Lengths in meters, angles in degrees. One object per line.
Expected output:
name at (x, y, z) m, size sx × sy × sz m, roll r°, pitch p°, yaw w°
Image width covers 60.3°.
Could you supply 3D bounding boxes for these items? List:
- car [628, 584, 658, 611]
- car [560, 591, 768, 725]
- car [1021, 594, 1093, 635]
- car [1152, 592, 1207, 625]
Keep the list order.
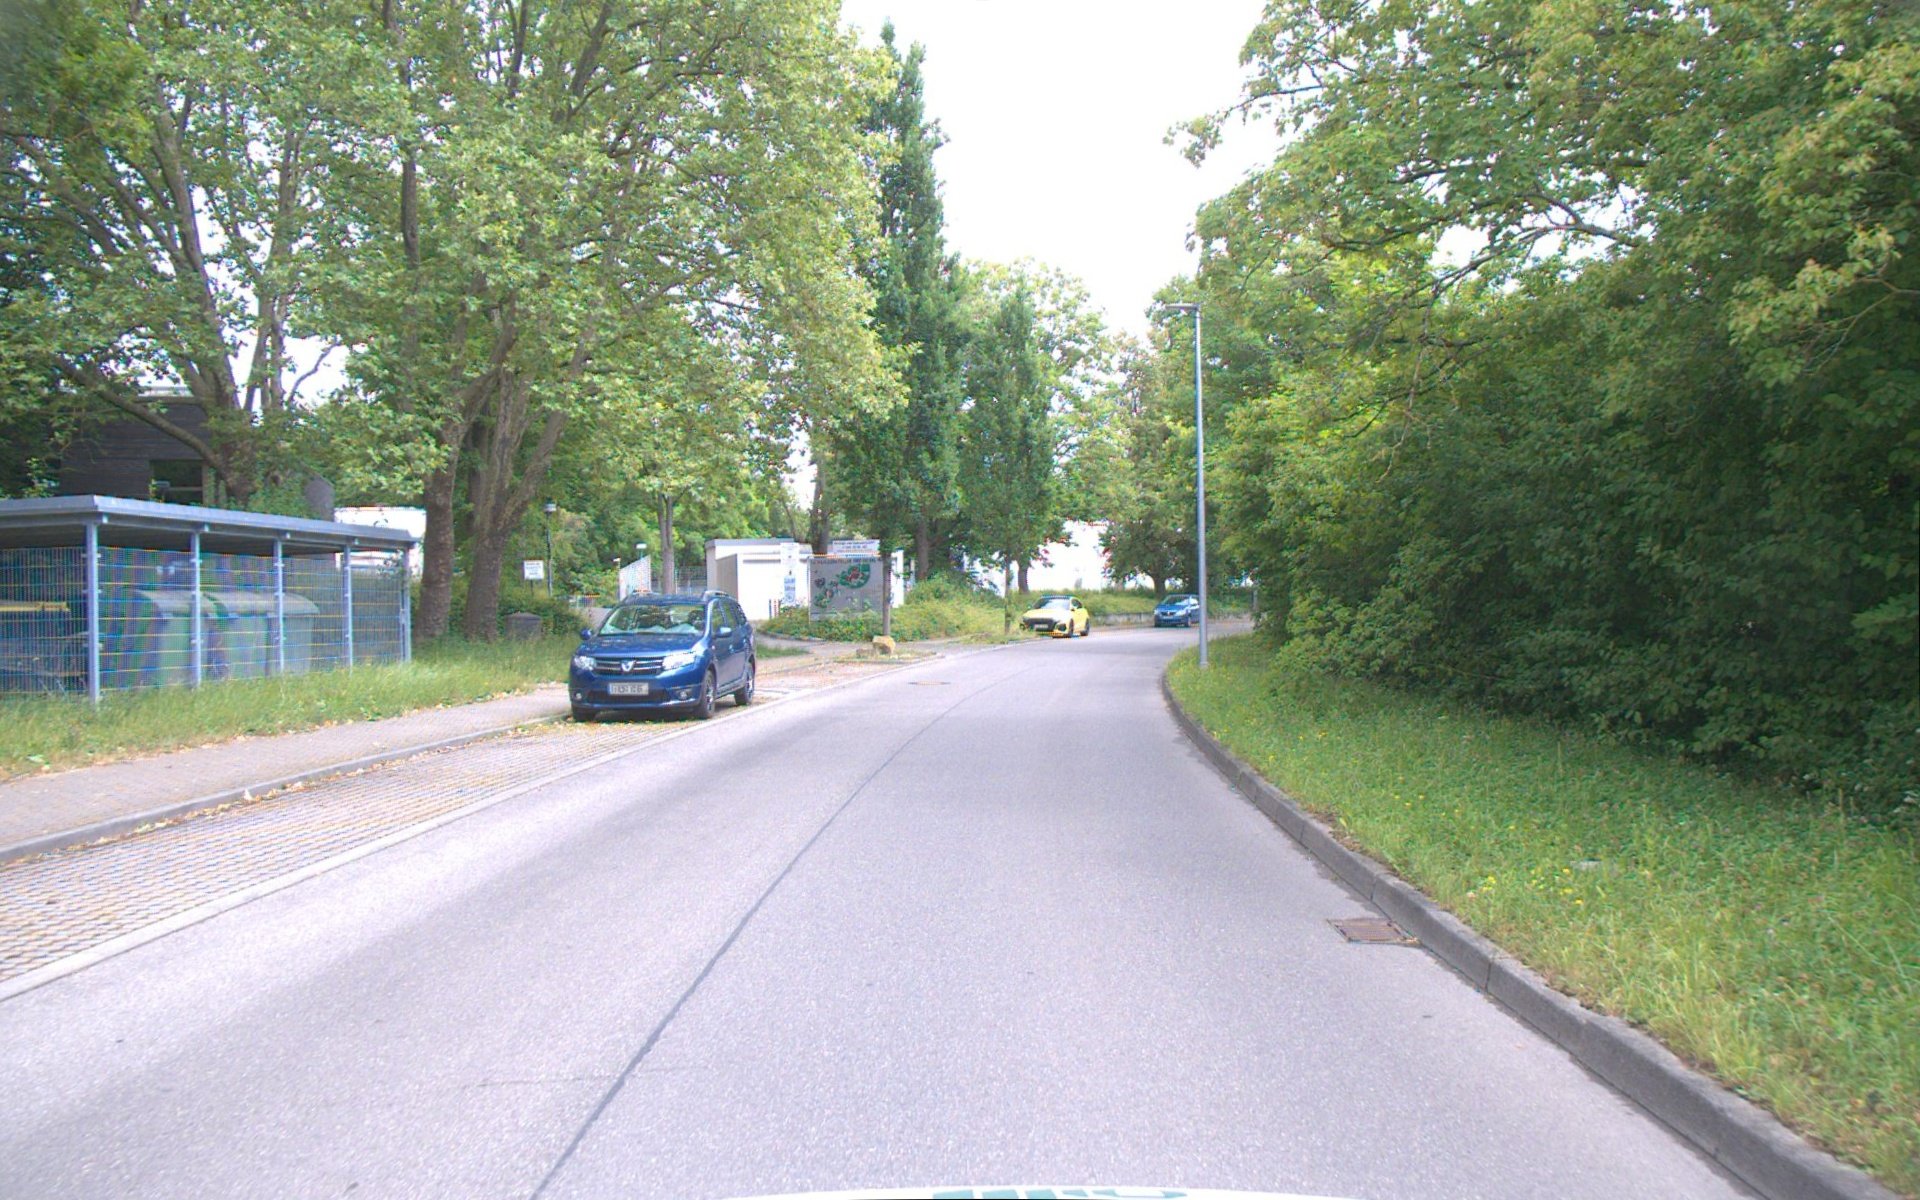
car at (-22.476, -0.175, 117.486) m, size 1.837 × 1.777 × 3.992 m, roll -2°, pitch 0°, yaw -8°
car at (-3.691, 0.672, 21.404) m, size 1.644 × 1.538 × 4.433 m, roll -1°, pitch 0°, yaw 3°
car at (3.496, 0.503, 59.020) m, size 1.664 × 1.427 × 4.276 m, roll 0°, pitch 0°, yaw 16°
car at (10.045, 0.380, 75.644) m, size 1.502 × 1.484 × 3.718 m, roll -1°, pitch 0°, yaw 24°
